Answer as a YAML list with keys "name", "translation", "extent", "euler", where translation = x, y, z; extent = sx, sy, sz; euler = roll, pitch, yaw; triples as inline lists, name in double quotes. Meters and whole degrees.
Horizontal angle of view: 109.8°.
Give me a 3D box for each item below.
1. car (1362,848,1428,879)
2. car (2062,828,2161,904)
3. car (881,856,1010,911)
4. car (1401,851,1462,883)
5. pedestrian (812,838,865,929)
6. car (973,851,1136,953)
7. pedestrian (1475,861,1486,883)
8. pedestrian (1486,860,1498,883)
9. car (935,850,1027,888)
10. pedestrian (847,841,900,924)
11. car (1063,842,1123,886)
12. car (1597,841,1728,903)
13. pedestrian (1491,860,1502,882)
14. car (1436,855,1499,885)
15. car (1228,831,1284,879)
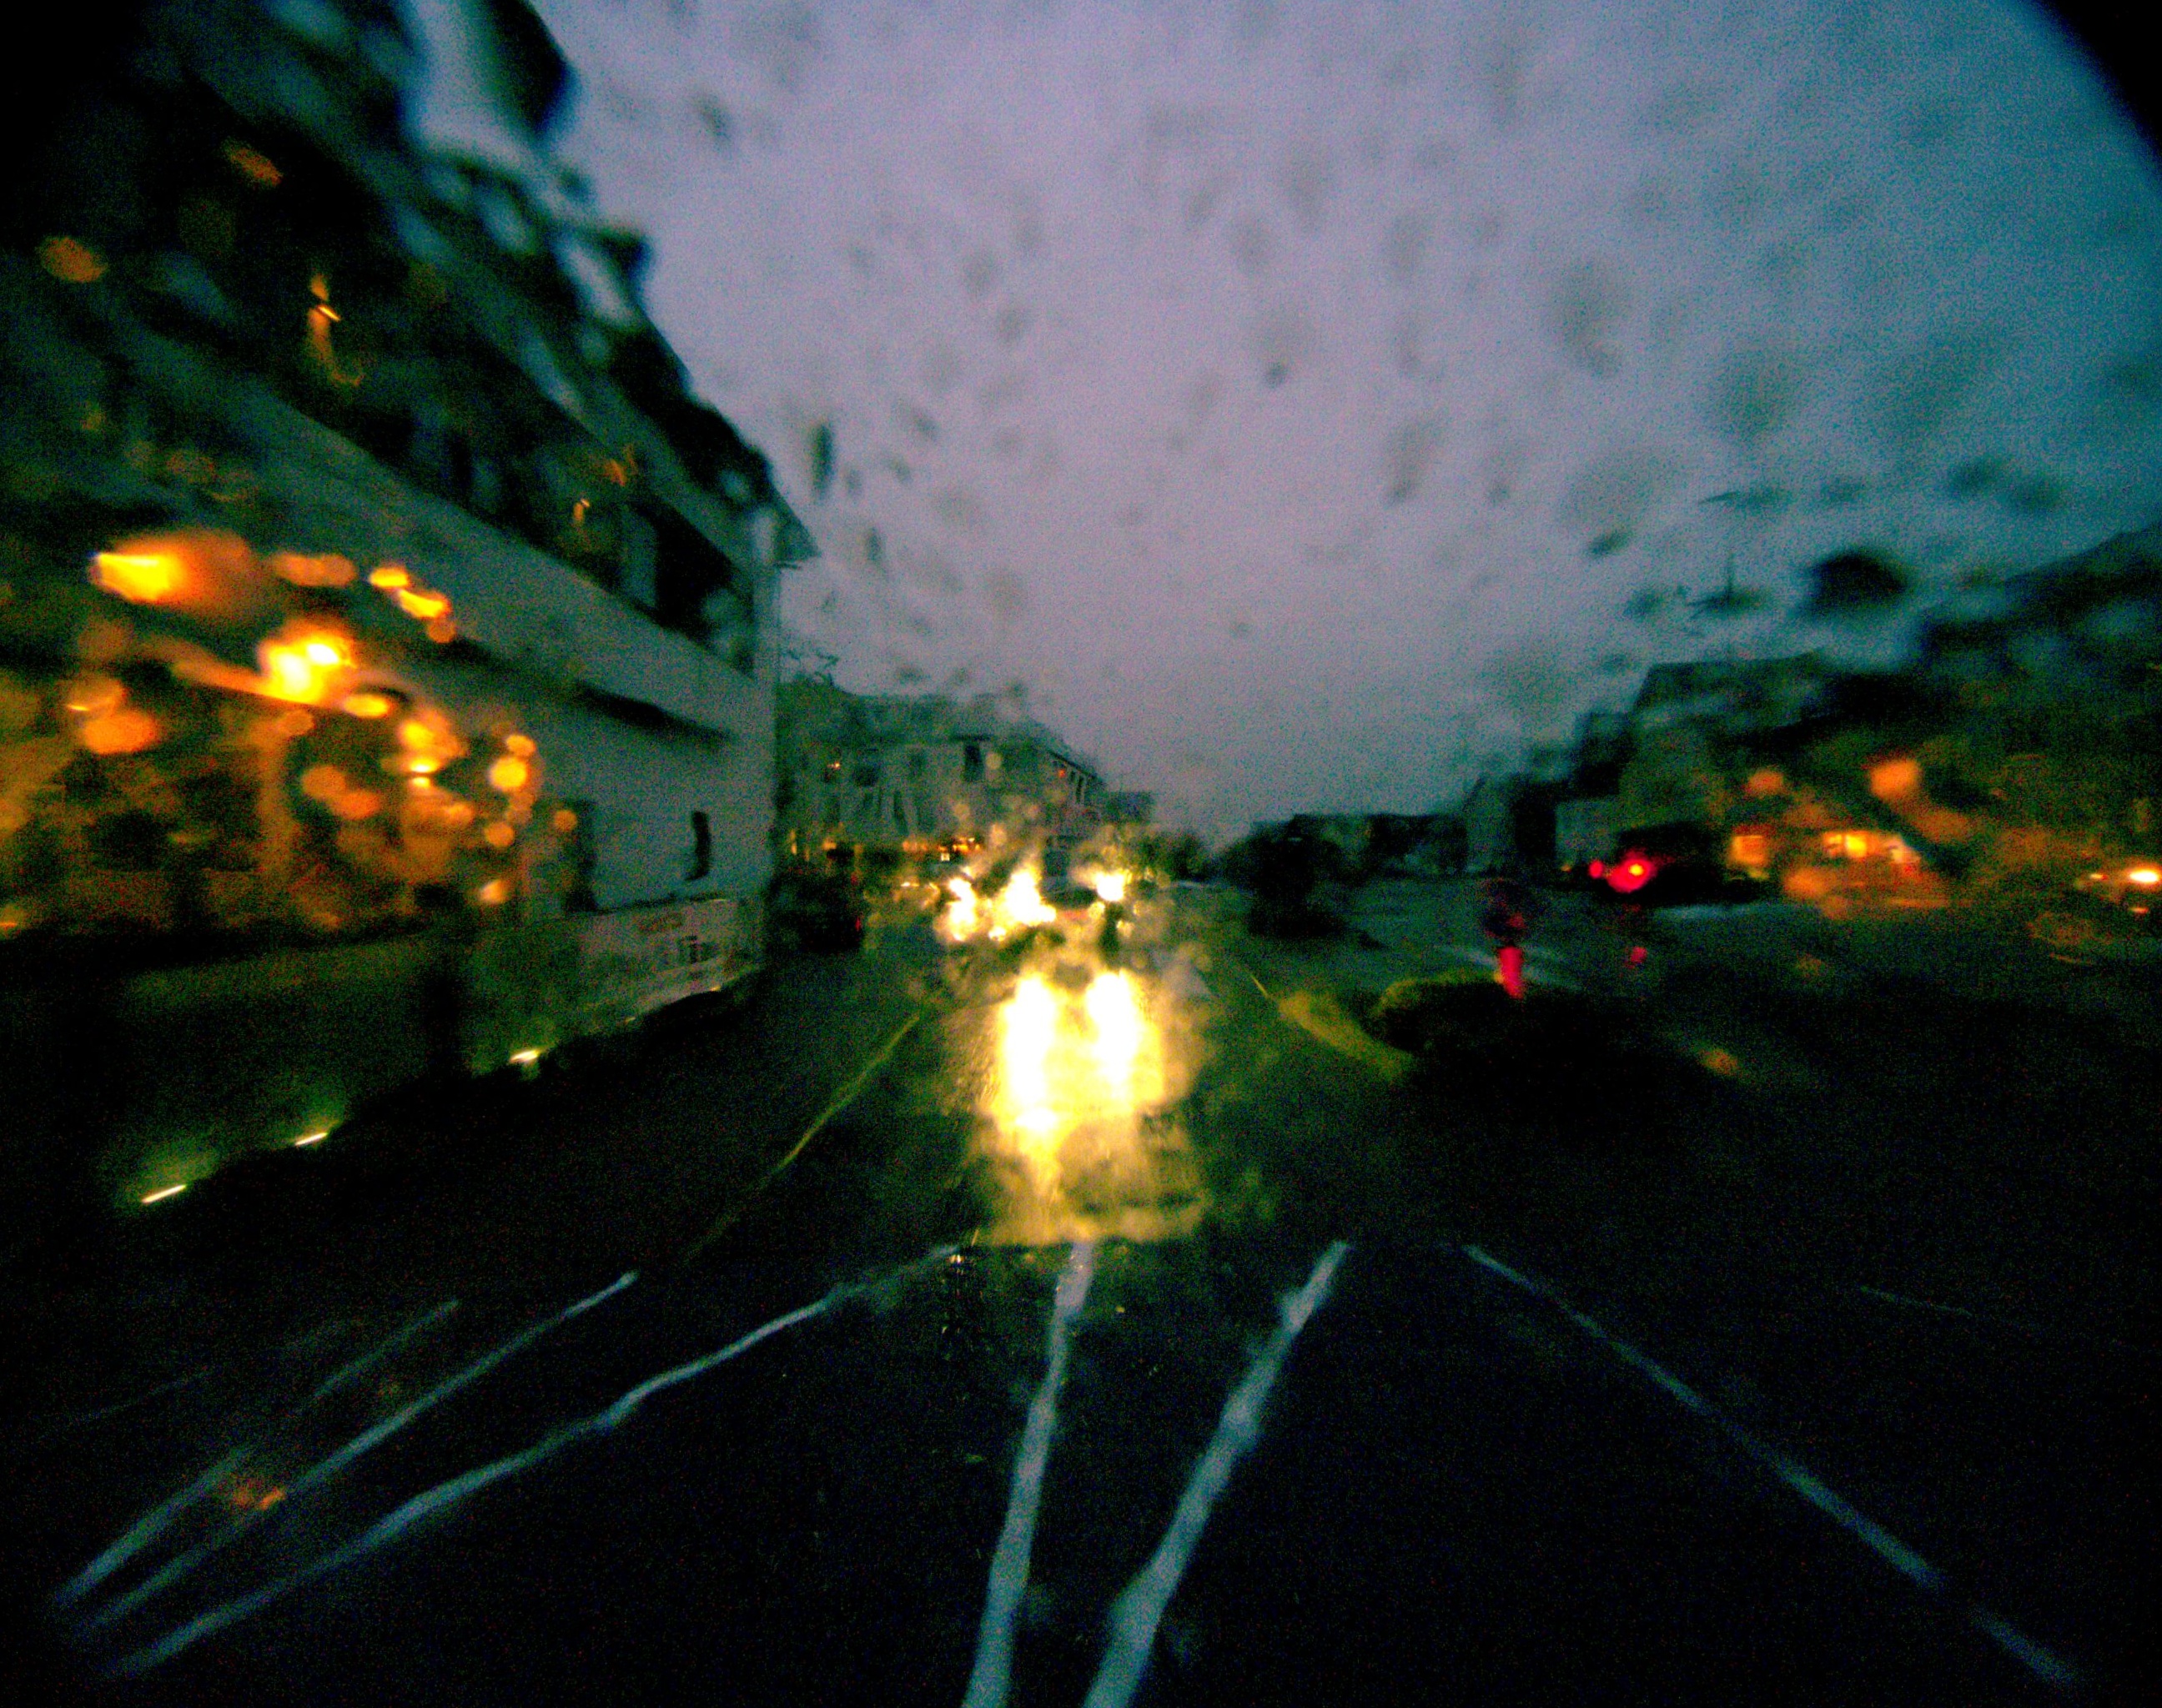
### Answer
- name: "car"
  translation: [22.042, 0.613, 53.520]
  extent: [1.974, 1.984, 3.991]
  euler: [-3, 2, -25]
- name: "car"
  translation: [31.406, 0.285, 21.261]
  extent: [4.455, 2.002, 2.002]
  euler: [-1, 2, 18]
- name: "car"
  translation: [-4.167, 0.831, 23.018]
  extent: [4.008, 1.471, 1.767]
  euler: [-1, 2, 44]
- name: "car"
  translation: [24.784, 0.899, 53.848]
  extent: [1.926, 2.002, 3.966]
  euler: [-2, 2, -13]
- name: "pedestrian"
  translation: [-5.172, 0.611, 16.212]
  extent: [0.789, 1.856, 0.711]
  euler: [0, 3, 44]
- name: "car"
  translation: [-0.666, 0.756, 14.222]
  extent: [1.961, 1.576, 4.103]
  euler: [-1, 0, -18]
- name: "pedestrian"
  translation: [29.657, 1.345, 56.460]
  extent: [0.582, 1.602, 0.500]
  euler: [-2, 2, 6]
- name: "pedestrian"
  translation: [30.530, 1.298, 56.419]
  extent: [0.582, 1.602, 0.500]
  euler: [-2, 2, 6]
- name: "car"
  translation: [-4.505, 0.647, 34.906]
  extent: [2.024, 1.471, 4.564]
  euler: [-1, 2, 24]
- name: "pedestrian"
  translation: [-4.568, 0.612, 16.736]
  extent: [0.789, 1.752, 0.770]
  euler: [0, 3, 44]
- name: "car"
  translation: [0.460, 0.352, 29.847]
  extent: [2.172, 1.469, 3.999]
  euler: [-2, 2, 1]
- name: "car"
  translation: [15.921, 0.441, 20.755]
  extent: [3.905, 1.494, 1.703]
  euler: [-1, 1, -35]
- name: "pedestrian"
  translation: [31.485, 1.274, 57.610]
  extent: [0.582, 1.602, 0.500]
  euler: [-2, 2, 6]
- name: "car"
  translation: [27.461, 1.074, 54.124]
  extent: [1.936, 1.871, 3.866]
  euler: [-2, 2, -13]
- name: "car"
  translation: [8.157, 0.002, 35.139]
  extent: [2.055, 1.976, 4.542]
  euler: [-1, 2, 18]
